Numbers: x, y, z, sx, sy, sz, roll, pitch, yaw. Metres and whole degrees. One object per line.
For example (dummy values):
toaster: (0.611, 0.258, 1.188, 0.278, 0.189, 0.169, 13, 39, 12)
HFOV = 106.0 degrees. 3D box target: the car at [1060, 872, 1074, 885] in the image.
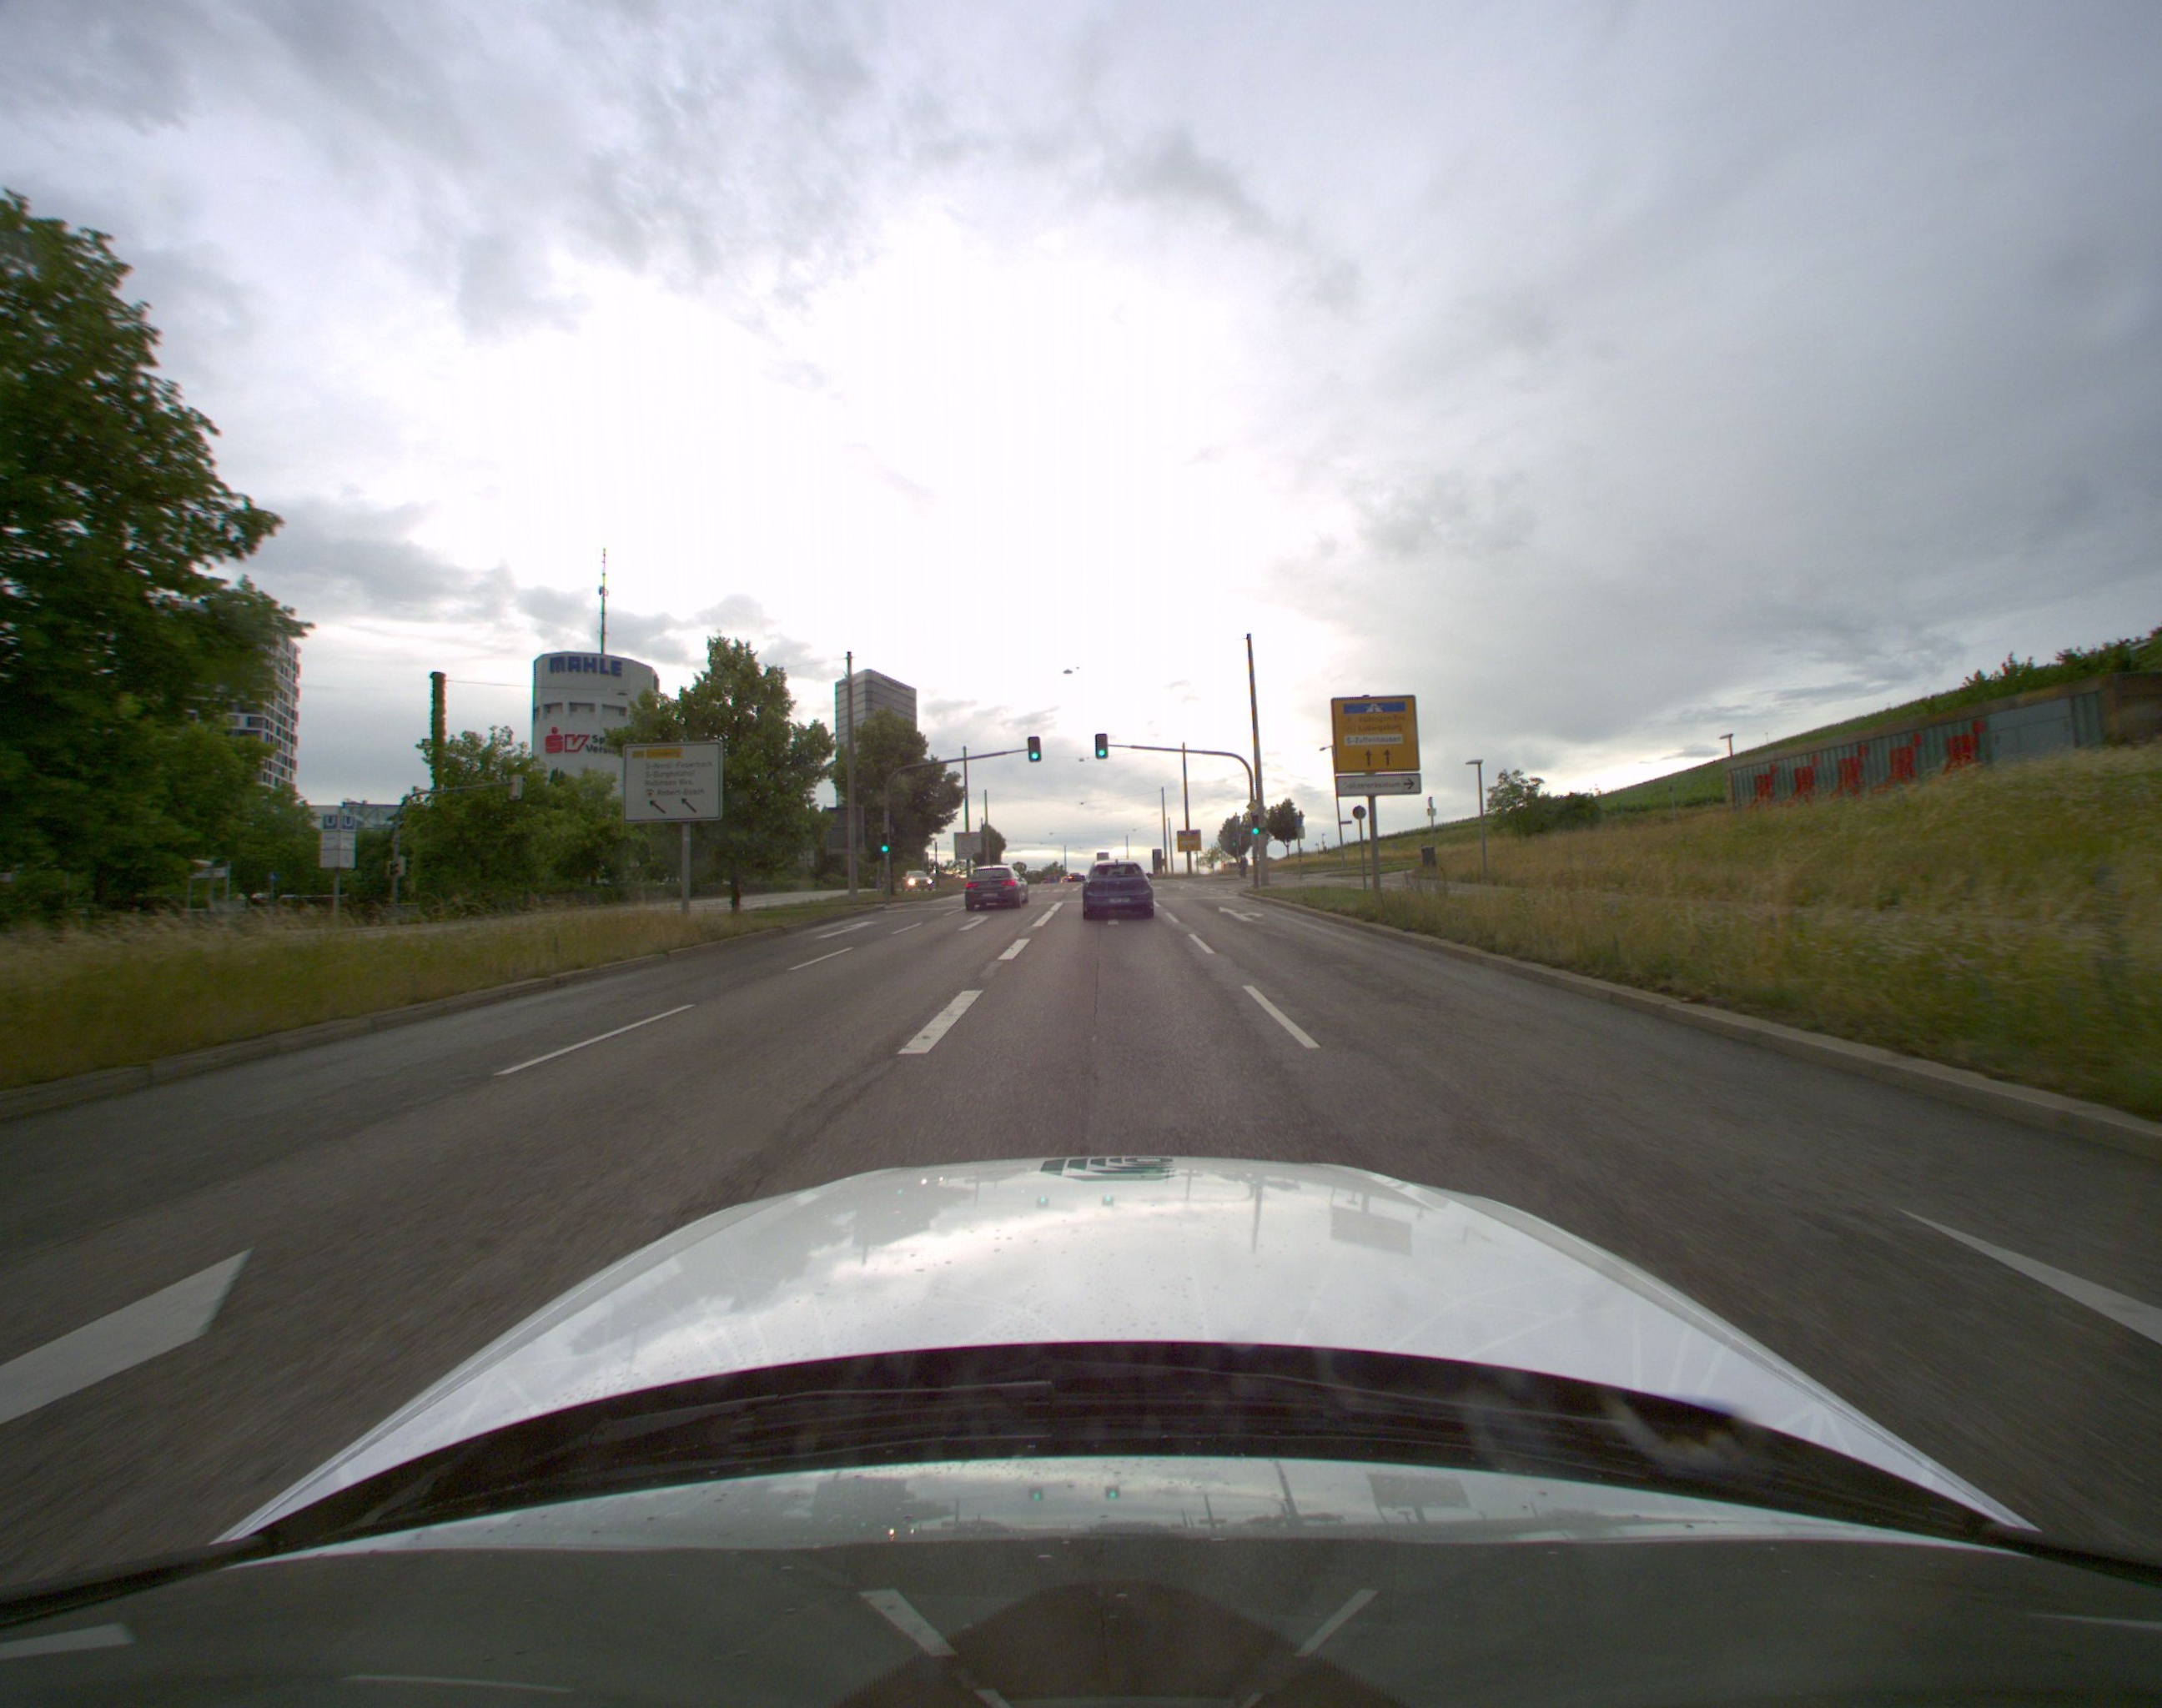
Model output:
car: (-2.356, 4.264, 139.591, 1.902, 1.973, 5.080, -3, -4, -6)

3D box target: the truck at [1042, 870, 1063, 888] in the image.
truck: (-5.487, 4.800, 156.105, 2.671, 3.221, 6.512, 0, -3, -16)

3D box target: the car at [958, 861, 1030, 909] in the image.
car: (-2.840, 0.995, 27.430, 1.862, 1.461, 3.977, -2, -1, 1)

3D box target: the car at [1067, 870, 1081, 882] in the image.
car: (-0.860, 2.828, 105.921, 1.716, 1.541, 3.703, 0, -1, 0)

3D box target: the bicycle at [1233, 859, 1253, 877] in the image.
bicycle: (10.442, 0.877, 52.480, 0.632, 1.105, 1.748, -5, 0, -8)

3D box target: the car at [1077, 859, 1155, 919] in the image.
car: (0.921, 0.839, 21.334, 1.830, 1.393, 4.002, -1, -1, 2)

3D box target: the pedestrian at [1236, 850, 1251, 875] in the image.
pedestrian: (10.429, 0.538, 52.345, 0.632, 1.570, 0.893, -3, 0, -8)

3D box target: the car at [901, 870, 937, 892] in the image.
car: (-11.721, 1.929, 58.870, 1.896, 1.507, 3.972, -2, 0, -20)
